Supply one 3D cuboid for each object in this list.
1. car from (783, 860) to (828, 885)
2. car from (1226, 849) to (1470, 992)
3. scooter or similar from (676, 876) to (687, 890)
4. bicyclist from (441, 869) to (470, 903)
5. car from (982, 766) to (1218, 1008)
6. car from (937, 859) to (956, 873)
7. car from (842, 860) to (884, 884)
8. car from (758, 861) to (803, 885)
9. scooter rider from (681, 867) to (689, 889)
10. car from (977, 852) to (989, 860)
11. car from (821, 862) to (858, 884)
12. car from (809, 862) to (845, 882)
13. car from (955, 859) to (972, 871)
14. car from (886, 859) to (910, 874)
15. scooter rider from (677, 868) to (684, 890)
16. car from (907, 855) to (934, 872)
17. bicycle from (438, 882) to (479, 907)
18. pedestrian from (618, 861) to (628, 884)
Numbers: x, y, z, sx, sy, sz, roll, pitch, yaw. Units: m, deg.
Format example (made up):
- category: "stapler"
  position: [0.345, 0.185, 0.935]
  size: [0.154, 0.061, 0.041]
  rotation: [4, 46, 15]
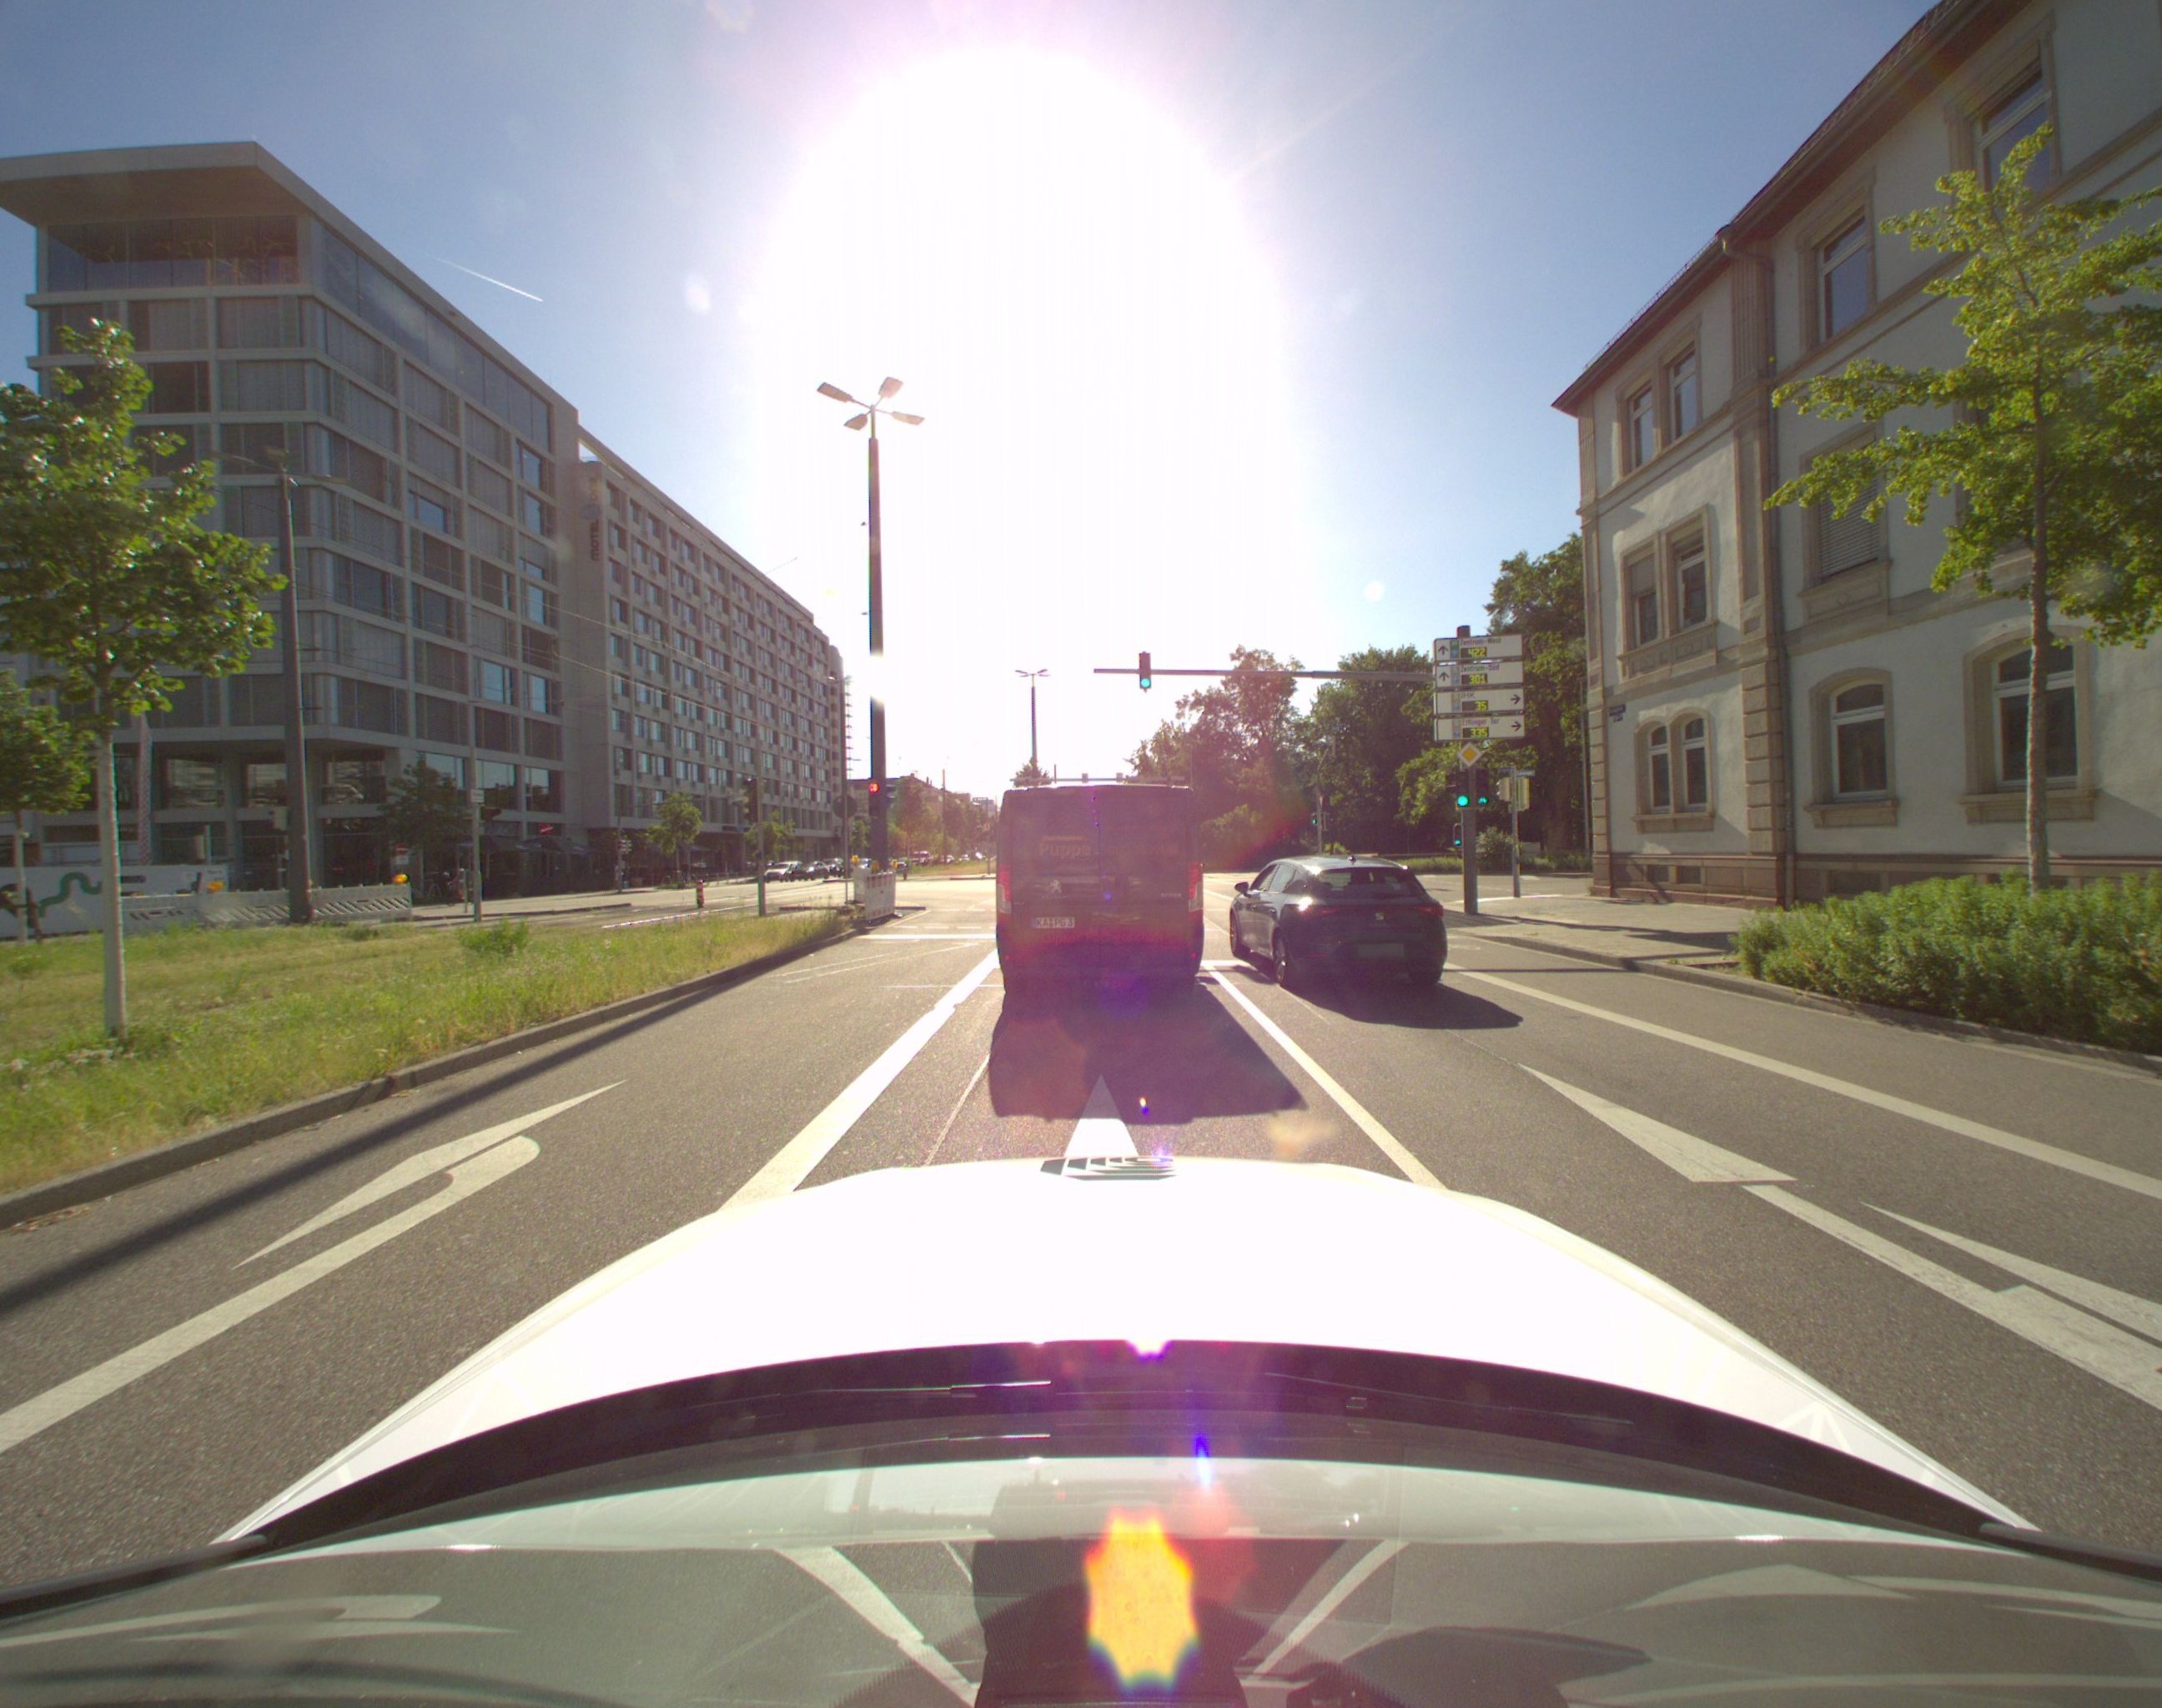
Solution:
- category: "car"
  position: [-20.127, 1.343, 59.656]
  size: [1.783, 1.651, 4.002]
  rotation: [-2, 0, 2]
- category: "car"
  position: [3.039, 0.673, 10.145]
  size: [1.786, 1.428, 3.849]
  rotation: [0, 0, 0]
- category: "scooter or similar"
  position: [-26.689, 1.938, 54.408]
  size: [0.284, 0.947, 0.769]
  rotation: [-2, 0, 8]
- category: "bicyclist"
  position: [-29.754, 1.493, 38.748]
  size: [0.590, 1.580, 0.894]
  rotation: [0, -1, 5]
- category: "car"
  position: [0.204, 0.282, 9.910]
  size: [2.211, 2.267, 4.484]
  rotation: [0, 1, 0]
- category: "car"
  position: [-18.034, 1.584, 109.303]
  size: [1.783, 1.651, 4.002]
  rotation: [-2, 0, 2]
- category: "car"
  position: [-16.571, 1.310, 62.087]
  size: [1.783, 1.651, 4.337]
  rotation: [-2, 0, 2]
- category: "car"
  position: [-22.819, 1.452, 62.001]
  size: [1.783, 1.651, 4.002]
  rotation: [-2, 0, 2]
- category: "scooter rider"
  position: [-25.926, 1.580, 53.289]
  size: [0.341, 1.453, 0.239]
  rotation: [-2, 0, 1]
- category: "car"
  position: [-20.784, 0.343, 173.154]
  size: [1.783, 1.651, 4.002]
  rotation: [-2, 0, 2]
- category: "car"
  position: [-20.207, 1.549, 68.284]
  size: [1.783, 1.651, 4.002]
  rotation: [-2, 0, 2]
- category: "car"
  position: [-22.572, 1.573, 72.614]
  size: [1.783, 1.651, 4.002]
  rotation: [-2, 0, 2]
- category: "car"
  position: [-18.302, 1.715, 127.135]
  size: [1.783, 1.651, 4.002]
  rotation: [-2, 0, 2]
- category: "car"
  position: [-22.449, 1.536, 99.959]
  size: [1.783, 1.651, 4.002]
  rotation: [-2, 0, 2]
- category: "scooter rider"
  position: [-26.710, 1.664, 54.332]
  size: [0.341, 1.453, 0.239]
  rotation: [-2, 0, 1]
- category: "car"
  position: [-16.244, 0.930, 82.442]
  size: [1.783, 1.651, 4.002]
  rotation: [-2, 0, 2]
- category: "bicycle"
  position: [-29.619, 1.933, 38.776]
  size: [0.584, 1.100, 1.625]
  rotation: [0, 0, 5]
- category: "pedestrian"
  position: [-31.222, 1.263, 55.555]
  size: [0.415, 1.494, 0.343]
  rotation: [-2, 0, 1]
